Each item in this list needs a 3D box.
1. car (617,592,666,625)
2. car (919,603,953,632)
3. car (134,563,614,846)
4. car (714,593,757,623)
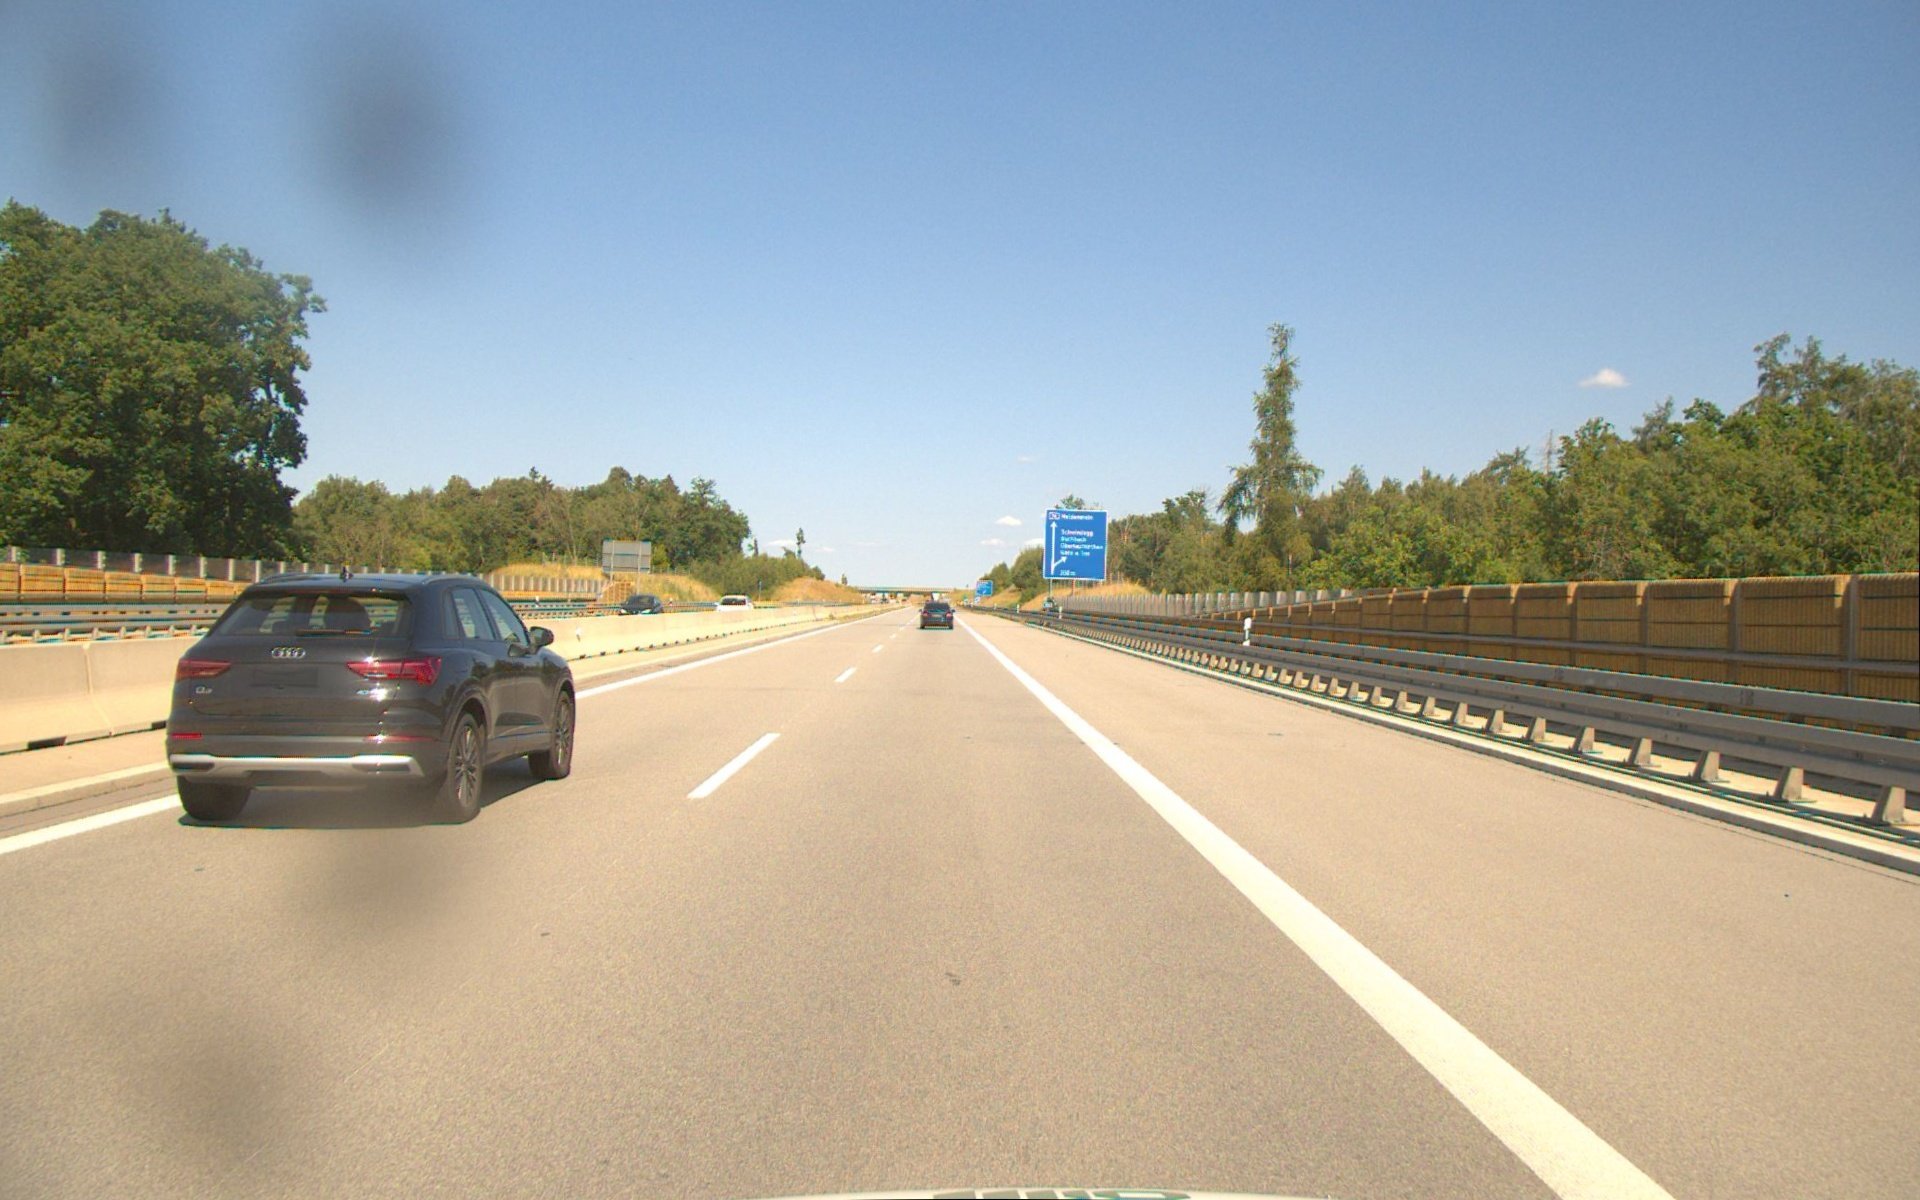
[{"bbox_3d":[-14.959,0.375,77.875,1.547,1.483,4.449,1,0,-1],"label":"car"},{"bbox_3d":[-1.258,0.909,87.281,1.753,1.398,3.916,1,0,-1],"label":"car"},{"bbox_3d":[-3.932,0.603,12.172,1.687,1.615,5.221,1,0,-1],"label":"car"},{"bbox_3d":[-11.586,0.400,85.651,1.692,1.529,4.623,1,0,-1],"label":"car"}]
